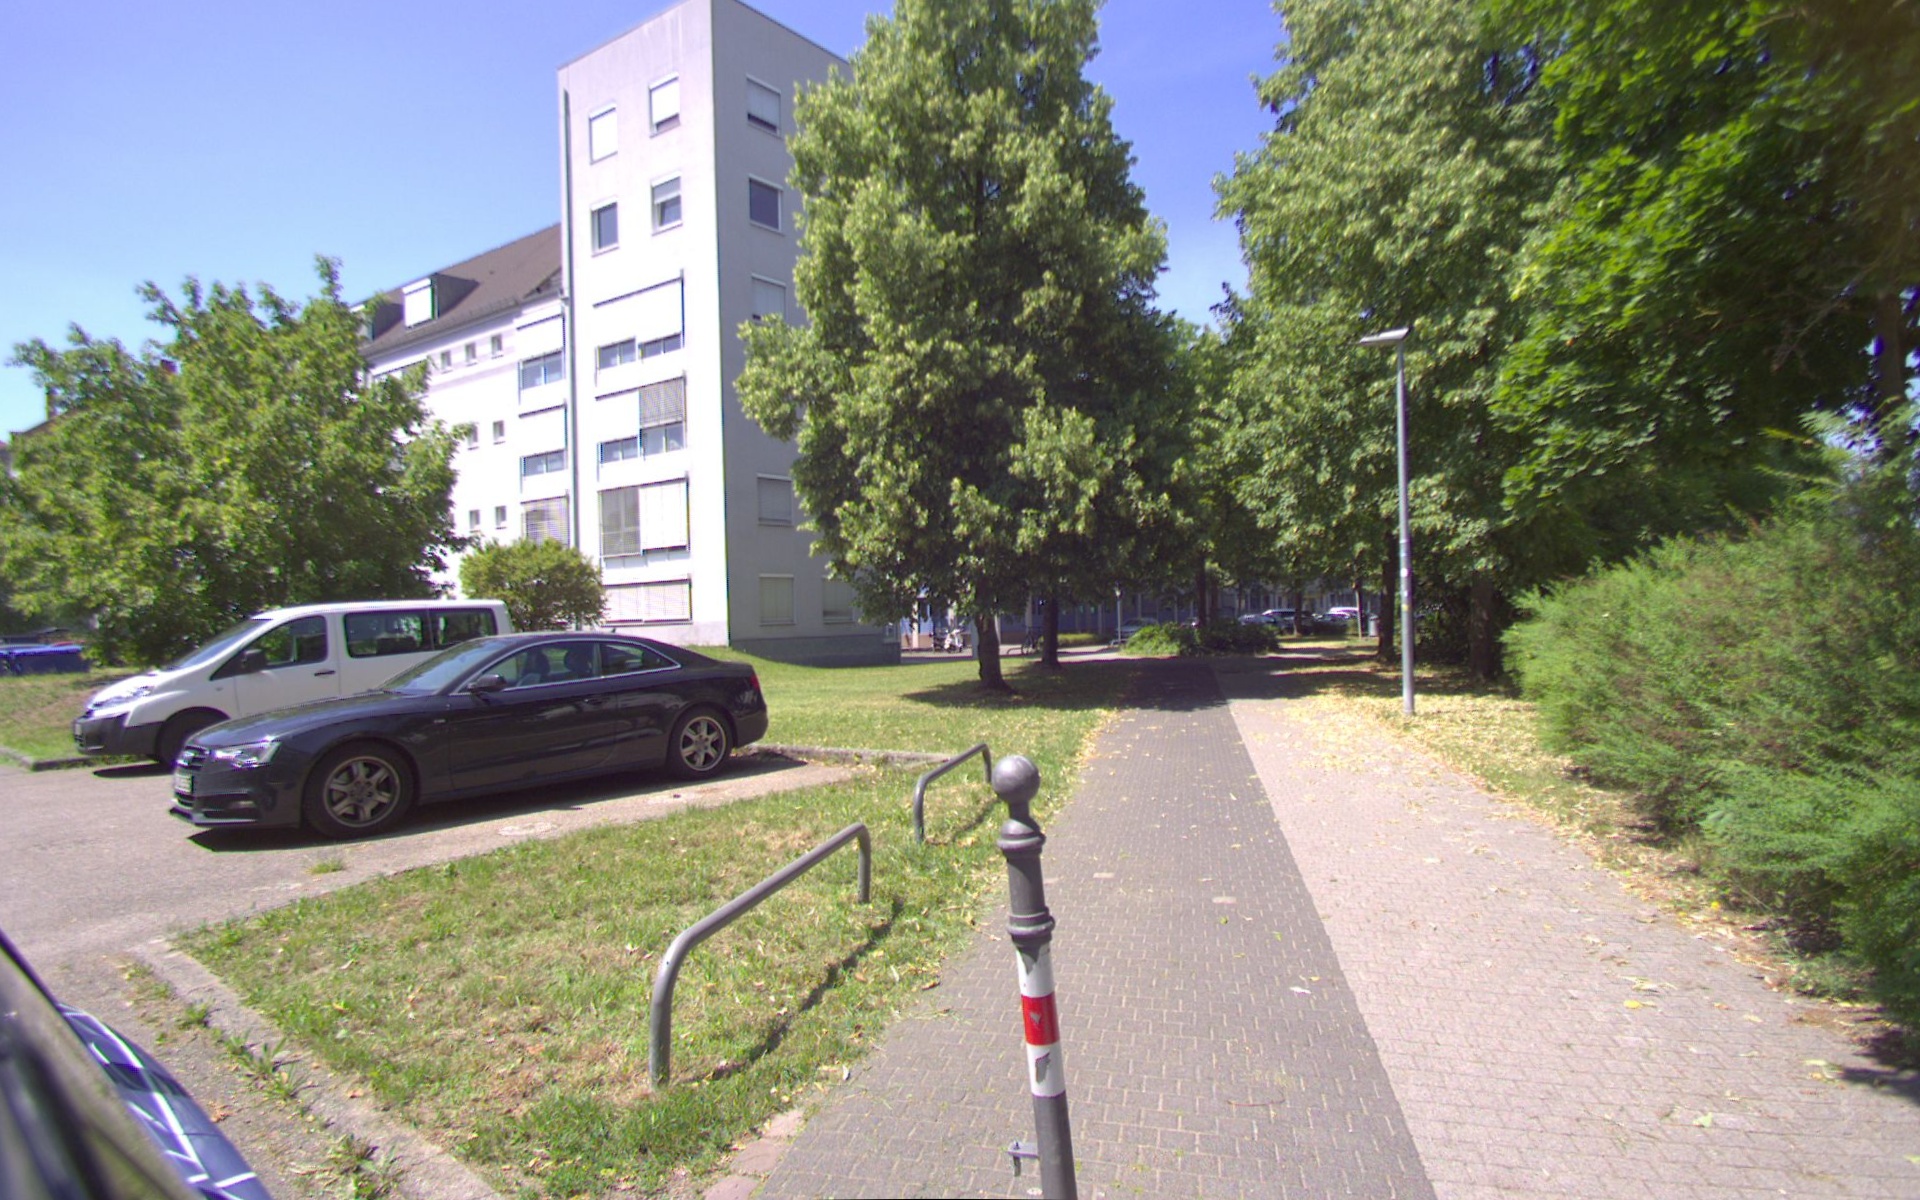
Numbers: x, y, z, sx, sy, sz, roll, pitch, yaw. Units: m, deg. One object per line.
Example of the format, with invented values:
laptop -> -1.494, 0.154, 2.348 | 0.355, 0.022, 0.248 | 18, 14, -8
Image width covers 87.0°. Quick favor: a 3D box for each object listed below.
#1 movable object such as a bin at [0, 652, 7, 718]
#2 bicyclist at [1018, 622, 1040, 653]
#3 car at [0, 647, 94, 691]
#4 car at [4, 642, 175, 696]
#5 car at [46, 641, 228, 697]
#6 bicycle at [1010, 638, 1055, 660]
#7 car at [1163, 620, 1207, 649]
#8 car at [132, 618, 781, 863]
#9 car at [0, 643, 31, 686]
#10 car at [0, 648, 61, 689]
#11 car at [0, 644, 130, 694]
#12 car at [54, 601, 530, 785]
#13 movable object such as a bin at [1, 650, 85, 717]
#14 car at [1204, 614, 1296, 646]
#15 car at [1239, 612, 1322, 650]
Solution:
movable object such as a bin -> -21.349, 1.848, 21.683 | 1.094, 1.399, 1.255 | -2, -1, 40
bicyclist -> 2.425, 1.331, 35.582 | 0.518, 1.053, 0.515 | -6, -5, 42
car -> -37.440, 2.760, 40.357 | 1.609, 1.581, 4.175 | -2, -1, 34
car -> -29.500, 2.291, 34.420 | 1.609, 1.581, 4.175 | -2, -1, 34
car -> -26.944, 2.213, 33.269 | 1.609, 1.581, 4.394 | -2, -1, 34
bicycle -> 2.559, 1.722, 35.707 | 0.734, 0.646, 1.594 | -6, -4, 41
car -> 13.747, 2.093, 61.717 | 1.798, 1.615, 3.861 | -2, -1, 25
car -> -3.887, 0.939, 8.396 | 2.023, 1.390, 4.382 | -5, -3, 42
car -> -42.783, 2.822, 43.299 | 2.005, 1.837, 4.175 | -2, -1, 34
car -> -40.154, 2.866, 41.869 | 1.609, 1.581, 4.175 | -2, -1, 34
car -> -32.429, 2.419, 36.056 | 1.609, 1.581, 4.175 | -2, -1, 34
car -> -8.413, 1.007, 13.118 | 2.067, 1.898, 4.796 | -2, -1, 42
movable object such as a bin -> -20.548, 1.845, 22.686 | 1.094, 1.399, 1.255 | -2, -1, 40
car -> 15.475, 1.609, 54.049 | 4.335, 1.622, 1.909 | -2, -1, 38
car -> 17.980, 1.742, 56.811 | 3.995, 2.029, 1.974 | -2, -1, 38
